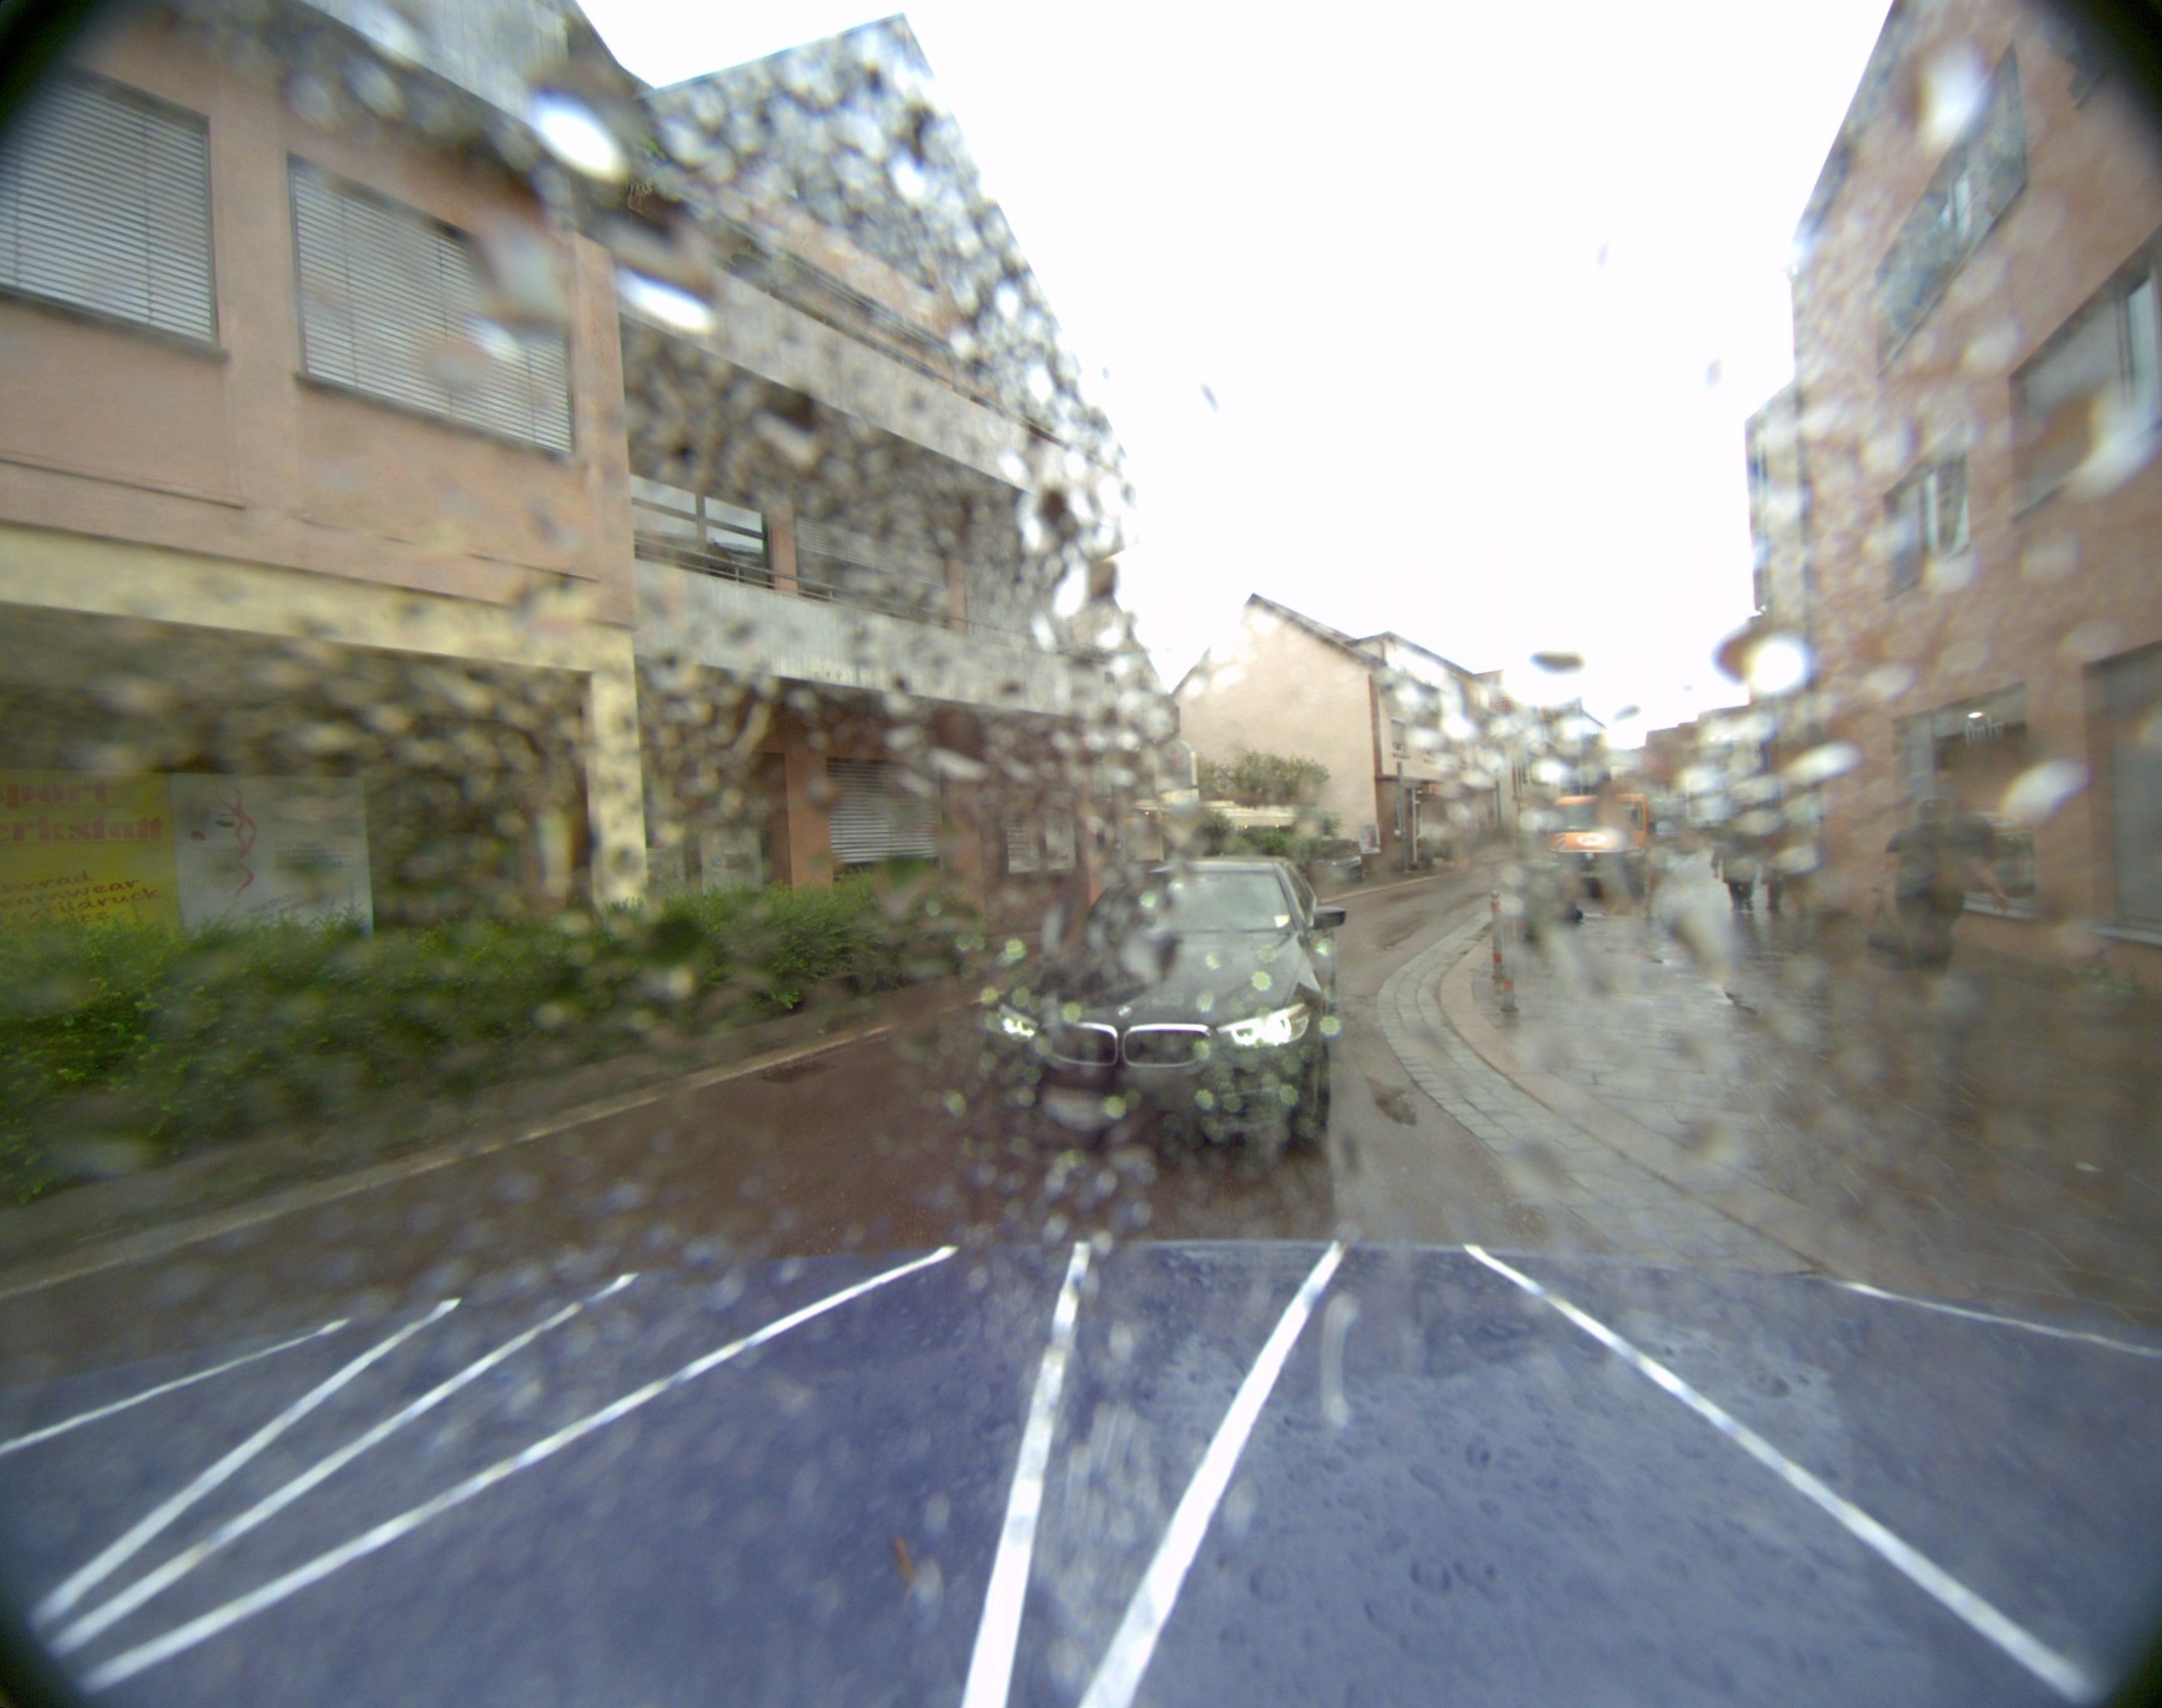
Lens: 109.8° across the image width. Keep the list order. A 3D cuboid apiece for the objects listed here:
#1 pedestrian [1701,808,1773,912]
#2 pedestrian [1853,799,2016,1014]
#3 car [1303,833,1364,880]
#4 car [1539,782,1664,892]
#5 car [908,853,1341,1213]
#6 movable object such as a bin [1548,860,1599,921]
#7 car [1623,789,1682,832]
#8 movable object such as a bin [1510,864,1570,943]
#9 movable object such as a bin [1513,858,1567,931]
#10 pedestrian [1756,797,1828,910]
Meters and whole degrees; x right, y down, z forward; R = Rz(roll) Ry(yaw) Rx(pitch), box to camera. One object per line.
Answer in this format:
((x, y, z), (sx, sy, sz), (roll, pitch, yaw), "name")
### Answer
((10.654, 0.094, 12.374), (0.715, 1.630, 0.747), (-4, 1, 33), "pedestrian")
((6.811, 0.396, 6.104), (0.660, 1.601, 0.685), (-2, 1, 30), "pedestrian")
((8.358, 0.019, 25.191), (1.735, 1.349, 3.940), (-2, 1, 18), "car")
((12.741, -0.453, 18.381), (1.994, 2.227, 5.871), (-2, 2, 39), "car")
((0.825, 0.807, 5.641), (1.944, 1.394, 4.425), (-3, 1, 20), "car")
((7.943, 0.586, 12.254), (0.582, 0.921, 0.482), (-3, 1, 41), "movable object such as a bin")
((44.108, -3.277, 58.515), (2.704, 2.857, 8.861), (-3, 0, 42), "car")
((6.349, 0.672, 10.513), (0.657, 1.031, 0.611), (-2, 2, 31), "movable object such as a bin")
((6.973, 0.606, 11.539), (0.657, 1.031, 0.611), (-2, 2, 31), "movable object such as a bin")
((11.215, -0.008, 12.008), (0.623, 1.702, 0.810), (-4, 1, 33), "pedestrian")
